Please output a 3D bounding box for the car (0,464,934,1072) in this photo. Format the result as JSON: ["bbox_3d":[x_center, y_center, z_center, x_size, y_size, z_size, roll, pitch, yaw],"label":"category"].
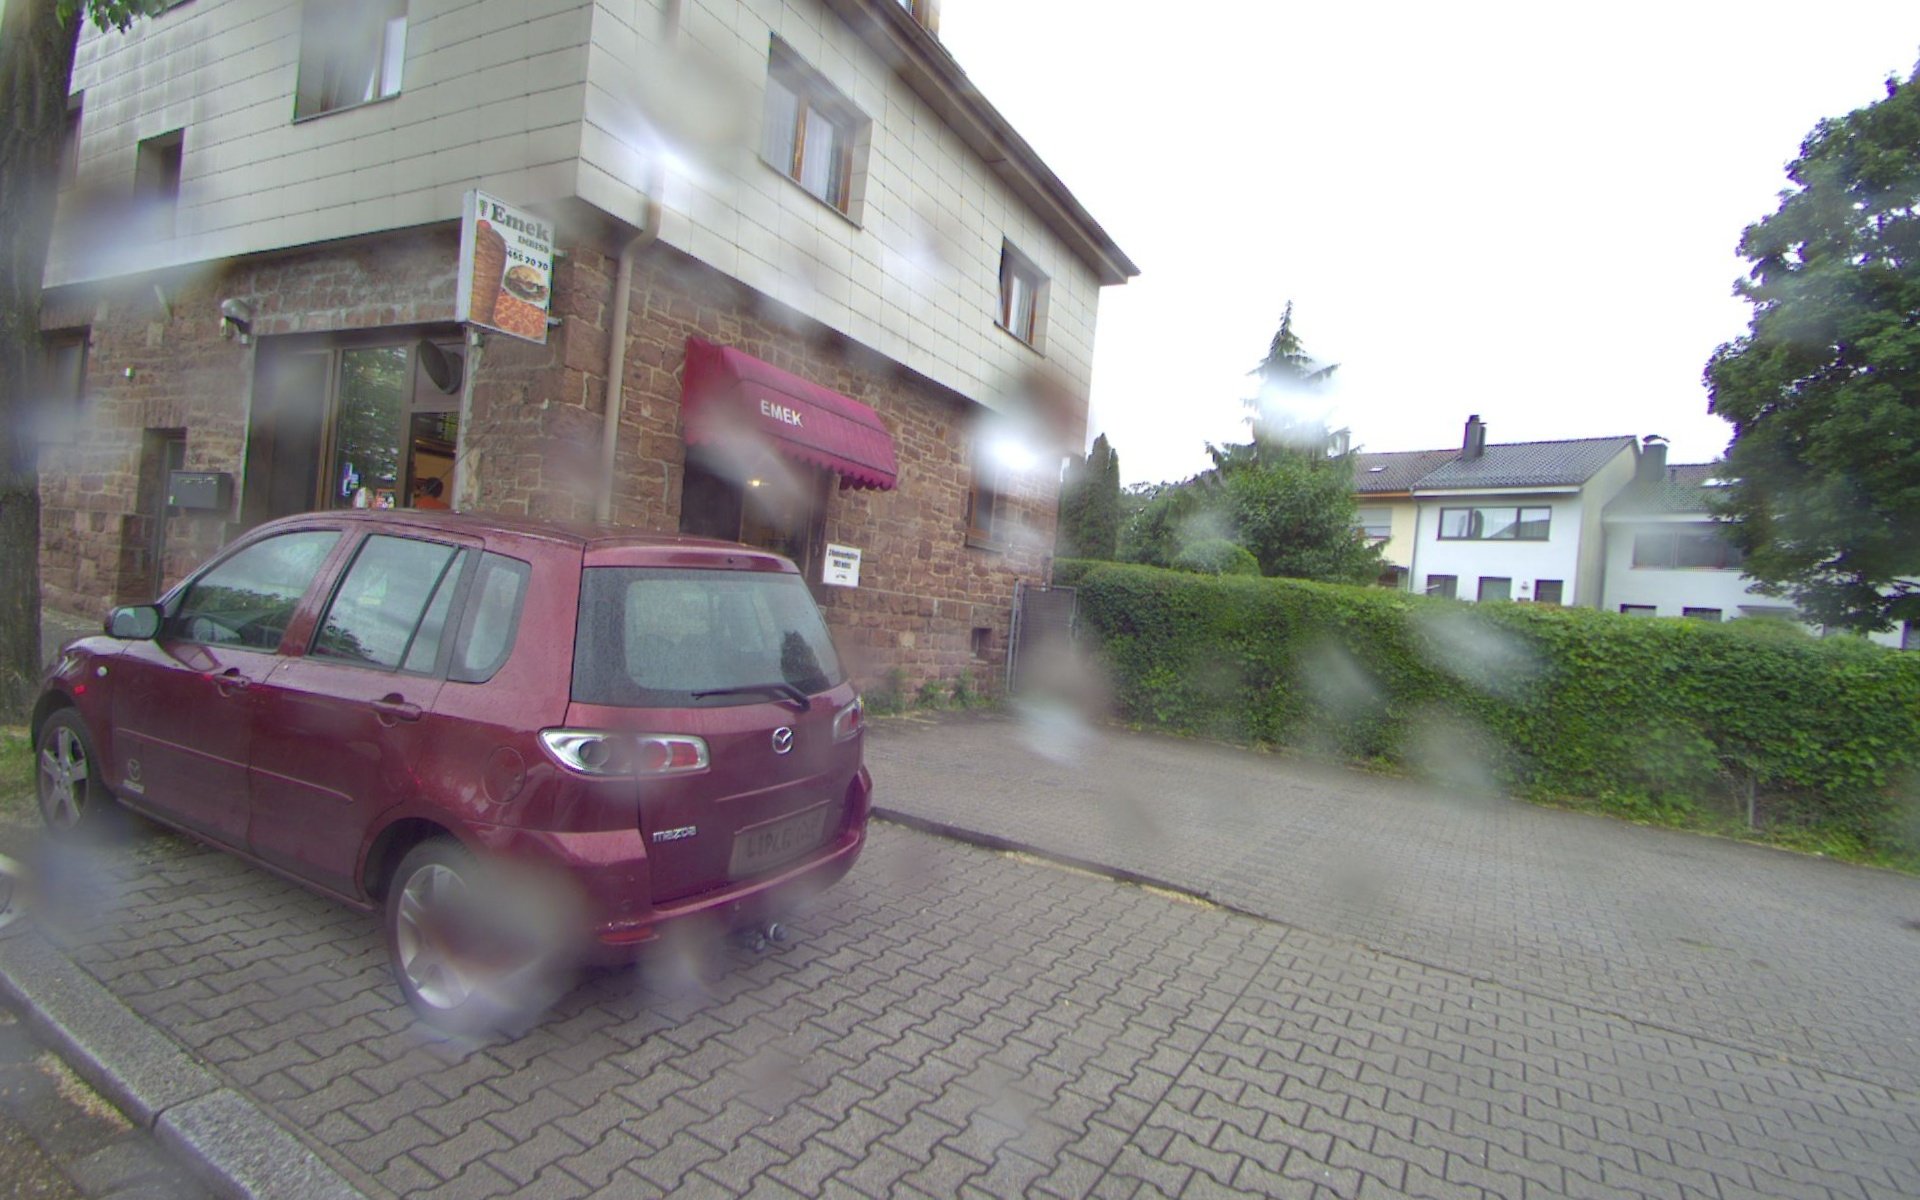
[{"bbox_3d":[-2.167,0.375,4.137,3.692,1.521,1.614,5,-3,29],"label":"car"}]

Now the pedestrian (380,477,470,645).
[{"bbox_3d":[-5.613,-0.407,10.569,0.447,1.679,0.493,7,-1,31],"label":"pedestrian"}]
